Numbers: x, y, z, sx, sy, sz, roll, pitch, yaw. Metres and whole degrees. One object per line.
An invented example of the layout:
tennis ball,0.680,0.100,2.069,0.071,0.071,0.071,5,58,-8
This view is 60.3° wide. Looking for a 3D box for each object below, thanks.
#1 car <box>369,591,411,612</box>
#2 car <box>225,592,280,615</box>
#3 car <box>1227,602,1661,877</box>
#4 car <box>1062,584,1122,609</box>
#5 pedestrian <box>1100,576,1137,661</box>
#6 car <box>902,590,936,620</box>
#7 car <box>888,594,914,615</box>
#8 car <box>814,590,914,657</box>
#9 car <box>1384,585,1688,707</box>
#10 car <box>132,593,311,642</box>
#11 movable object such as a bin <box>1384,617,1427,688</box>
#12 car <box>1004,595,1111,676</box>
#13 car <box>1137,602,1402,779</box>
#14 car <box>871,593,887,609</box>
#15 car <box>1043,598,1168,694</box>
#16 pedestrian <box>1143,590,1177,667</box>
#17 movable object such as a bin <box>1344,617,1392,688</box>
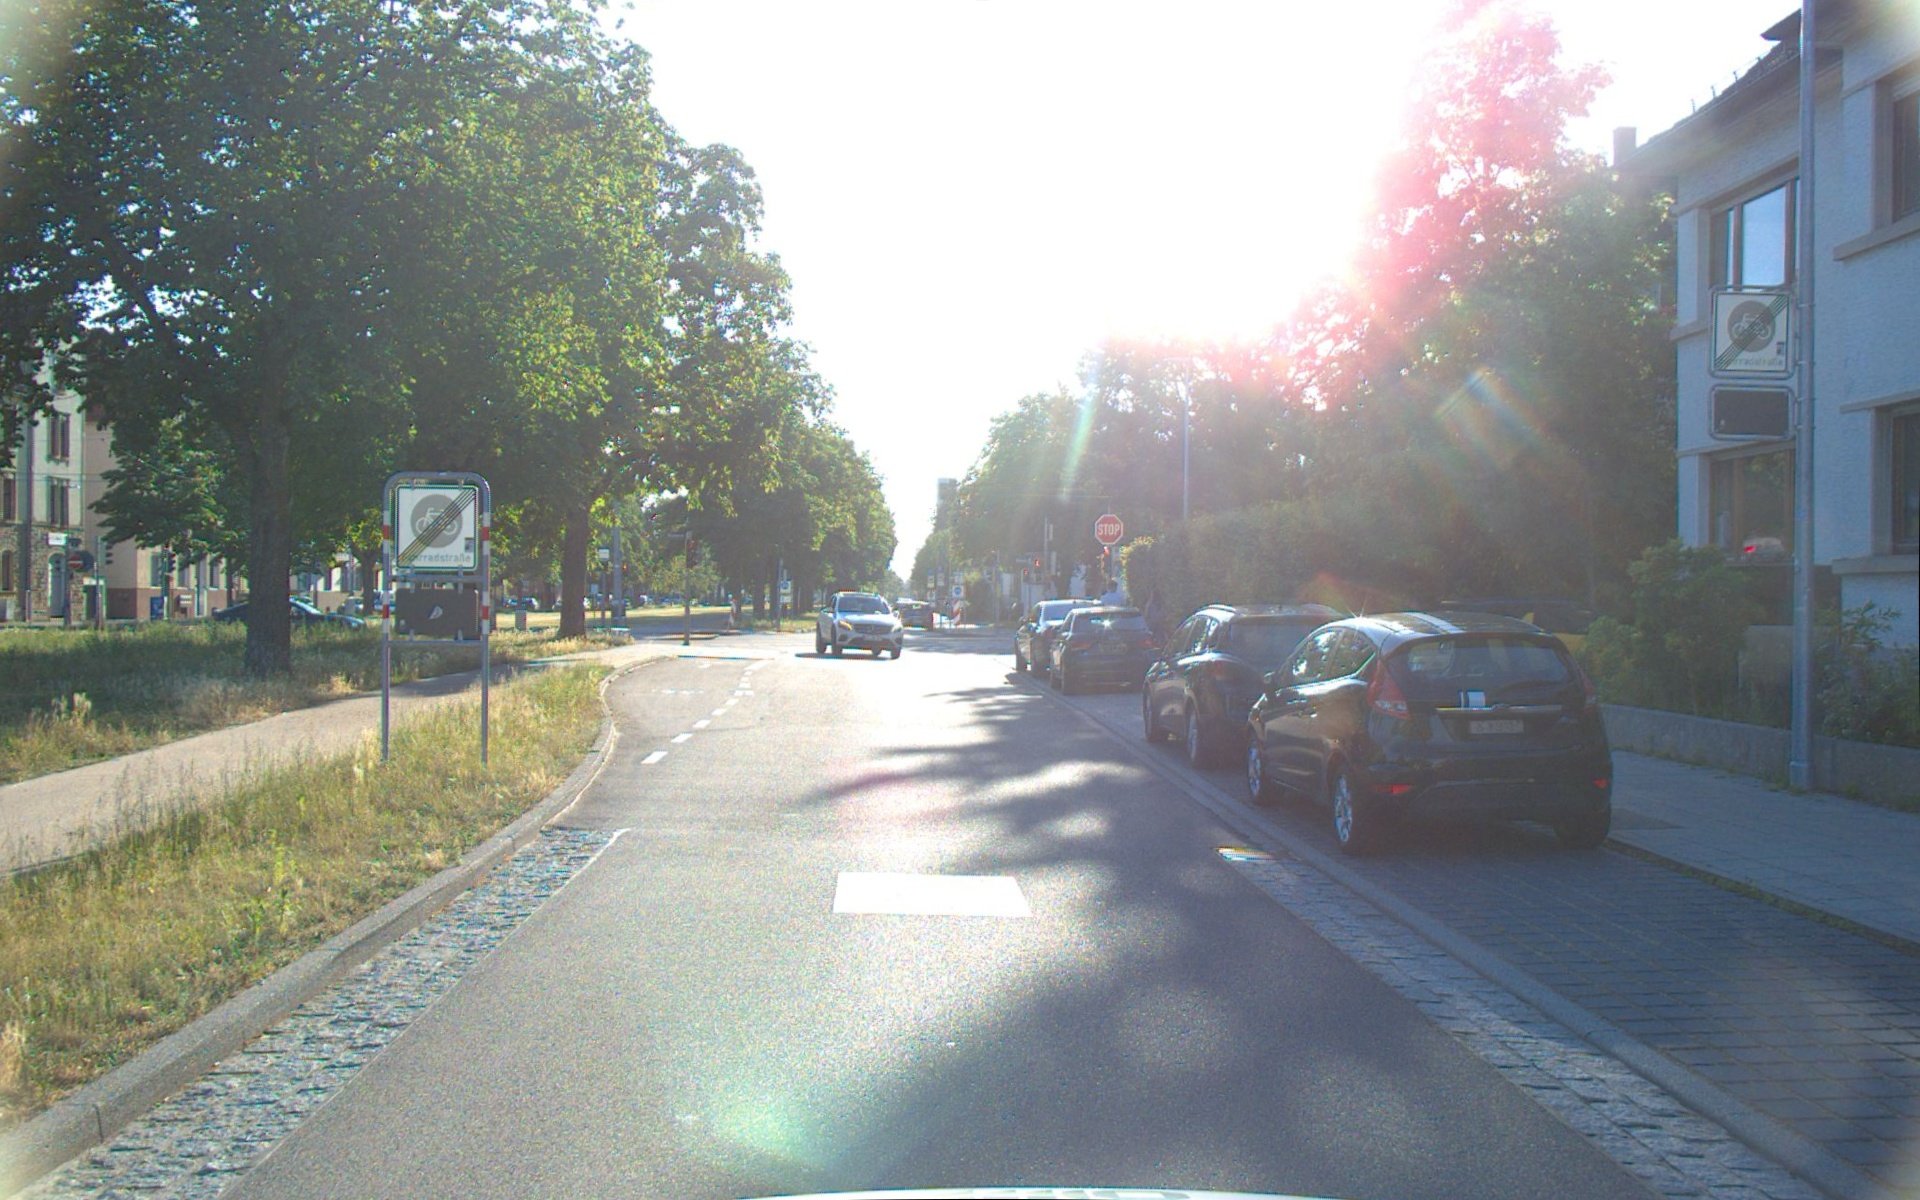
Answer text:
car,-40.226,0.117,116.730,1.703,1.452,3.791,1,0,-1
car,-45.605,0.229,106.666,1.701,1.422,3.794,1,1,4
car,3.159,0.814,11.668,1.684,1.497,3.981,-3,0,-3
car,8.508,-0.216,106.616,3.704,1.552,1.743,0,2,-2
pedestrian,3.596,0.420,37.537,0.657,1.898,0.881,1,0,-5
car,-2.100,0.253,85.083,1.607,1.476,3.307,0,0,0
car,-4.221,0.308,119.010,1.808,1.418,3.828,1,1,-1
car,-2.645,0.591,44.799,1.859,1.706,4.407,1,0,-15
car,7.943,0.603,23.019,3.561,1.522,1.780,-2,0,-2
car,-22.563,0.519,50.724,4.678,1.459,1.810,0,0,-10
movable object such as a bin,6.771,0.791,25.139,0.498,1.061,0.416,0,0,-8
car,1.972,0.690,34.720,1.821,1.569,4.871,0,0,-2
car,2.962,0.798,16.715,1.711,1.500,4.253,0,1,-3
car,-11.031,0.101,224.963,2.091,2.049,3.900,0,0,-1
car,2.424,0.737,28.372,1.608,1.452,3.935,-2,0,-2
pedestrian,4.540,0.644,37.553,0.656,1.738,0.622,1,0,-5
movable object such as a bin,6.213,0.791,25.215,0.498,1.061,0.658,0,0,-8
